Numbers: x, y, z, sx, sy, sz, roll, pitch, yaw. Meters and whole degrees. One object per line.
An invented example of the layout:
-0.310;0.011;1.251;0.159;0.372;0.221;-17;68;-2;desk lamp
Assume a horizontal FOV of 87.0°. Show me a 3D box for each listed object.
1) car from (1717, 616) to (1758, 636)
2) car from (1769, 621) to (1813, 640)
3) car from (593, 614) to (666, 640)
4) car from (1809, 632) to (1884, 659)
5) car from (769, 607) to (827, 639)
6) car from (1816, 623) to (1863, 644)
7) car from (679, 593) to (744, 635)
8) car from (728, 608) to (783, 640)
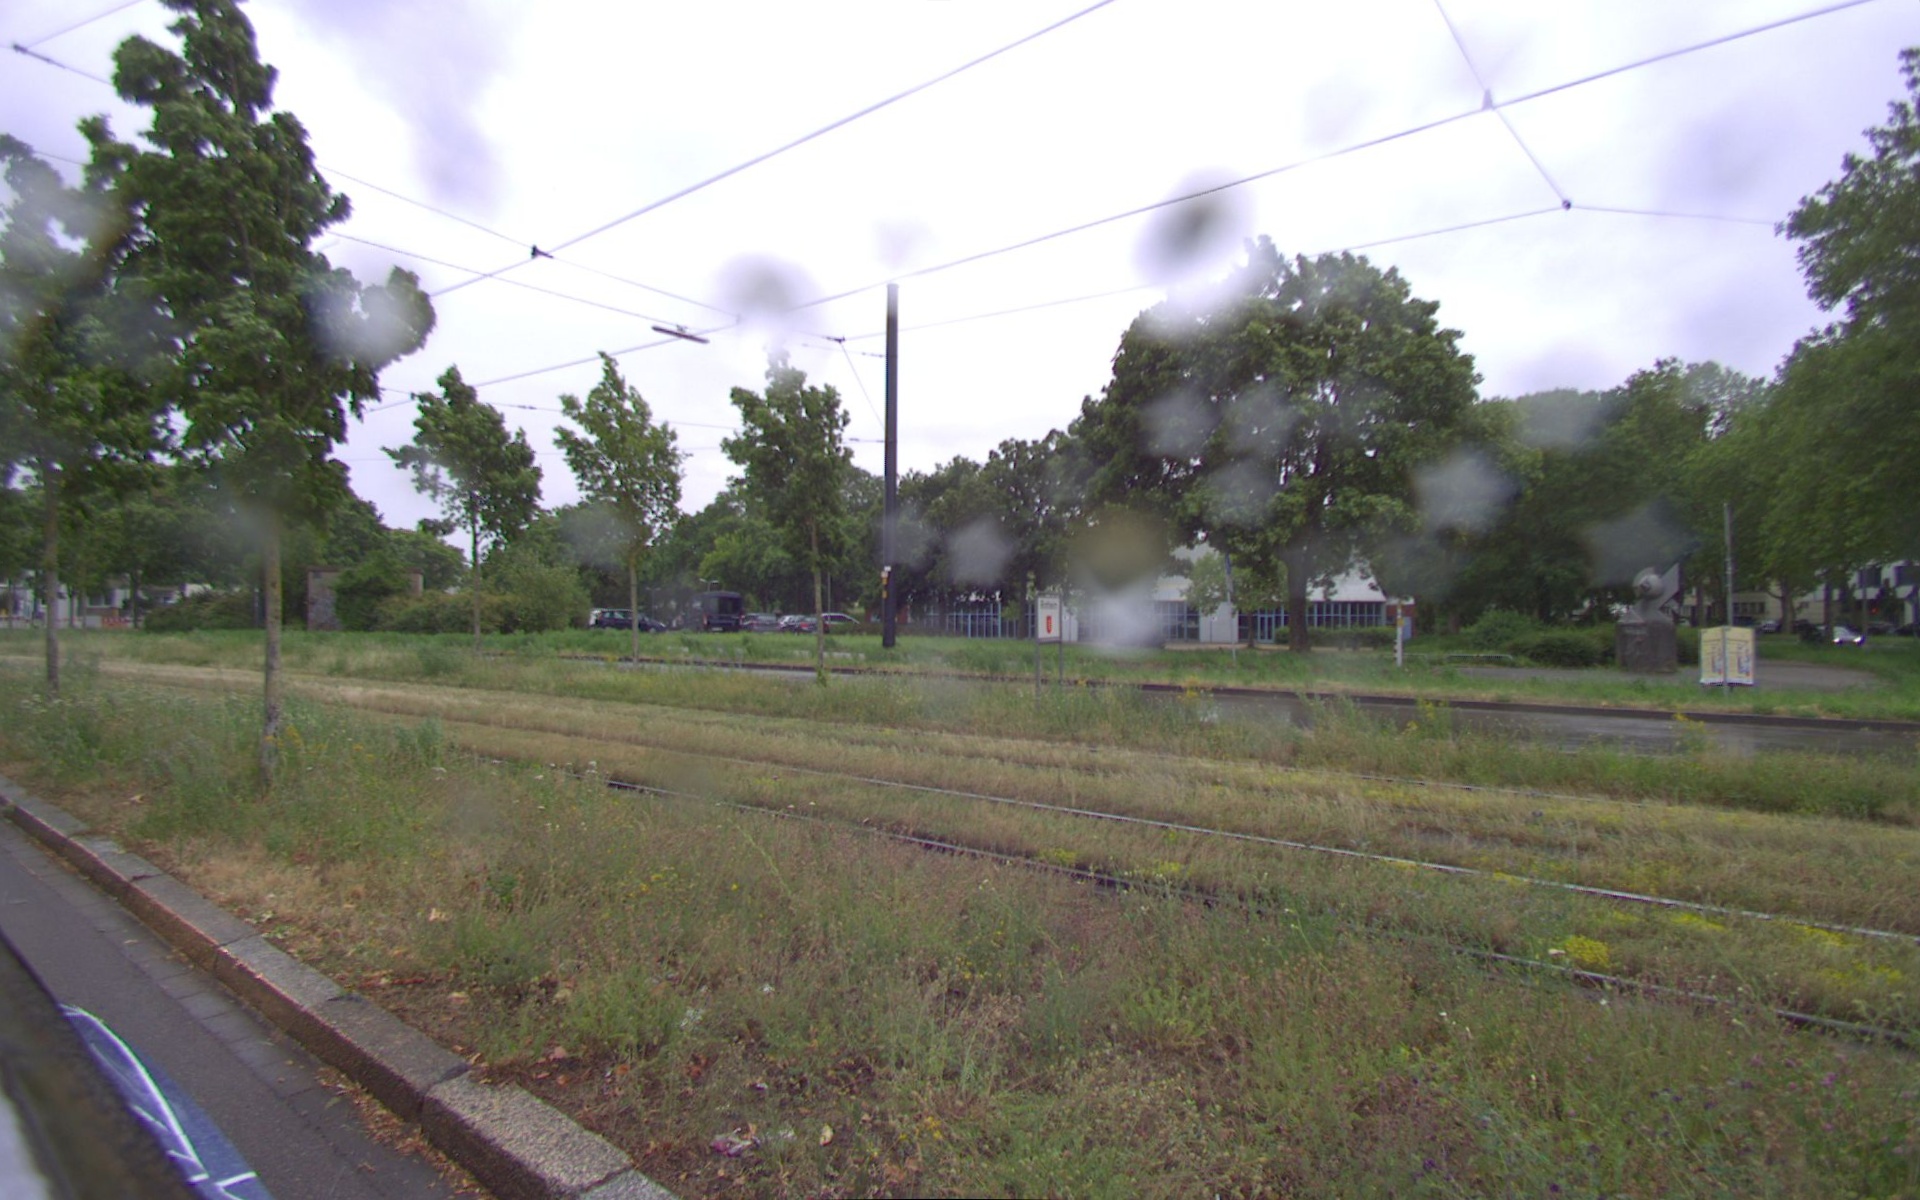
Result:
86.341;2.828;112.390;2.108;2.104;3.982;-1;0;14;car
83.002;3.019;101.140;1.982;1.796;3.979;-1;0;16;car
-20.228;1.643;61.866;4.110;1.494;1.789;-1;0;-23;car
50.324;2.581;57.526;1.792;1.412;4.282;-2;-3;22;car
-8.760;1.177;54.359;2.026;1.584;5.032;-1;0;-21;car
81.681;3.098;94.042;1.986;1.796;3.972;-1;0;21;car
-12.811;0.701;51.928;2.273;2.029;5.134;-1;0;-25;car
-10.893;1.232;53.700;1.726;1.542;4.865;-1;0;-25;car
